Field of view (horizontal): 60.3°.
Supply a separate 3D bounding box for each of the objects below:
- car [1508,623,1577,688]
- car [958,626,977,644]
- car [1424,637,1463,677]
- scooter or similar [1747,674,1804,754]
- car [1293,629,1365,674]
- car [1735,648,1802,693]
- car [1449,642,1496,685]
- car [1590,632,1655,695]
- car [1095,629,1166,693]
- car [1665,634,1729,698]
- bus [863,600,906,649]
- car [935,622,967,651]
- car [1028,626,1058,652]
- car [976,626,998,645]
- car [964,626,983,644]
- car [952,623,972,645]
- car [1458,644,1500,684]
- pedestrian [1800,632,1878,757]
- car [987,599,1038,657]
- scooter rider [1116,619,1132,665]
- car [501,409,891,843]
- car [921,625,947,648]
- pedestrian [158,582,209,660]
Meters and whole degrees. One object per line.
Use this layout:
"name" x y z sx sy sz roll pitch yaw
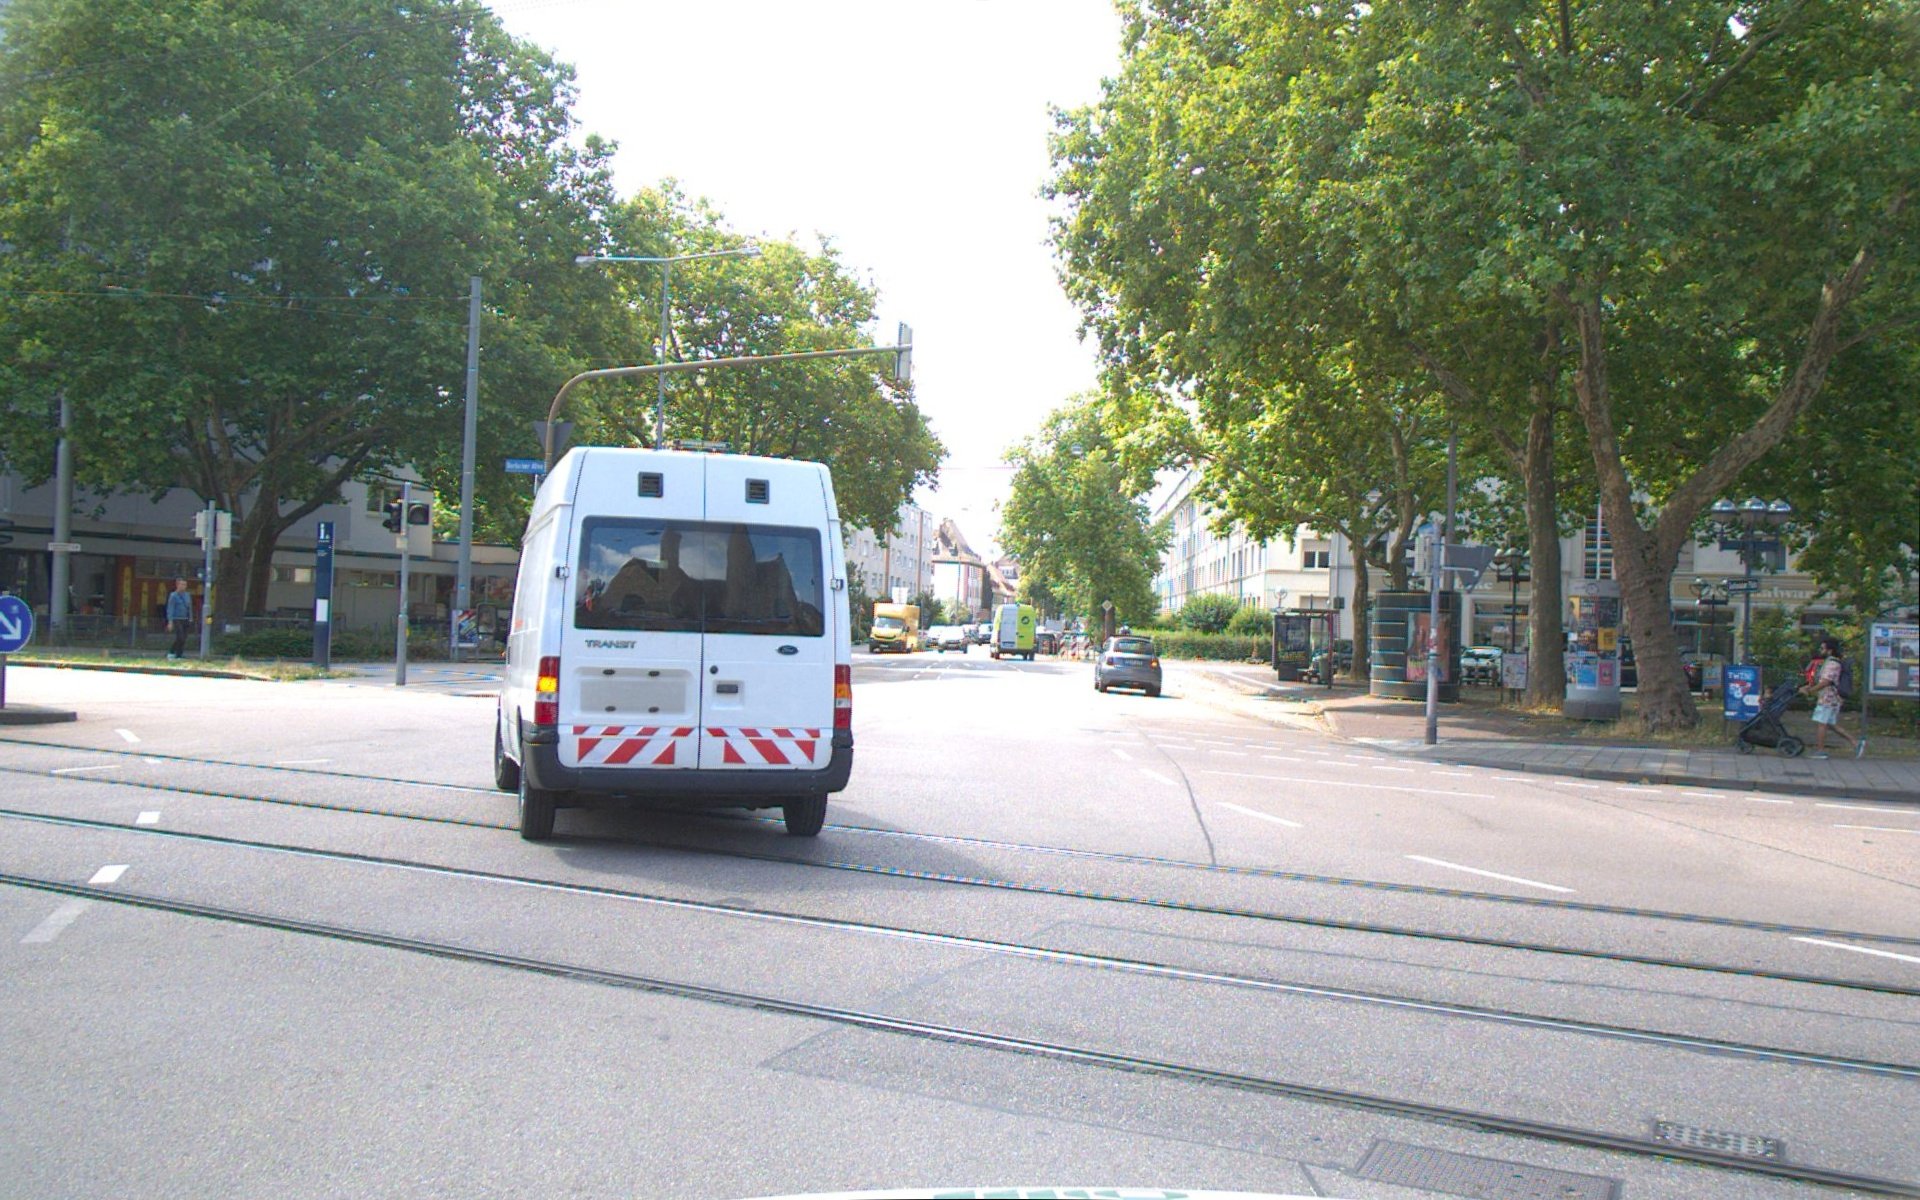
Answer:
"car" 21.422 2.025 60.722 1.954 2.221 4.254 2 -1 24
"car" 0.760 3.478 163.948 1.625 1.690 3.751 2 0 4
"car" 21.499 2.522 73.501 1.435 1.695 3.067 2 -1 20
"scooter or similar" 11.573 1.609 23.489 0.692 1.074 0.490 2 -1 26
"car" 14.460 2.002 64.583 1.986 1.628 4.537 1 -1 22
"car" 28.242 2.446 57.848 1.954 1.447 3.997 2 -1 24
"car" 17.990 2.207 58.099 1.434 1.413 3.069 2 -1 15
"car" 24.004 2.275 59.829 1.954 2.112 3.997 2 -1 24
"car" 4.612 1.631 45.130 1.656 1.565 3.469 2 0 2
"car" 26.061 2.322 58.492 1.954 2.112 3.997 2 -1 24
"bus" -4.522 1.466 99.481 2.346 2.756 6.368 2 -1 -1
"car" -0.534 2.238 101.740 1.749 1.690 4.317 2 0 2
"car" 5.245 2.442 104.798 1.689 1.582 3.634 2 -1 1
"car" 2.490 3.303 153.909 1.823 1.690 3.751 2 0 4
"car" 1.395 3.616 170.808 1.665 1.690 3.751 2 0 4
"car" 0.225 3.182 155.869 1.618 1.965 3.751 2 0 4
"car" 19.359 2.371 61.748 1.434 1.413 3.237 2 -1 17
"pedestrian" 12.275 1.302 23.122 0.902 1.674 0.569 2 -1 26
"car" 2.573 1.369 82.513 2.077 2.687 6.326 2 0 -1
"scooter rider" 6.633 1.682 66.737 0.515 1.843 0.649 2 -1 0
"car" -2.076 0.176 11.606 2.015 2.374 4.691 2 -1 -17
"car" -1.997 2.884 130.183 1.692 1.690 3.751 2 0 4
"pedestrian" -16.451 0.440 35.037 0.766 1.627 0.535 2 -1 21
